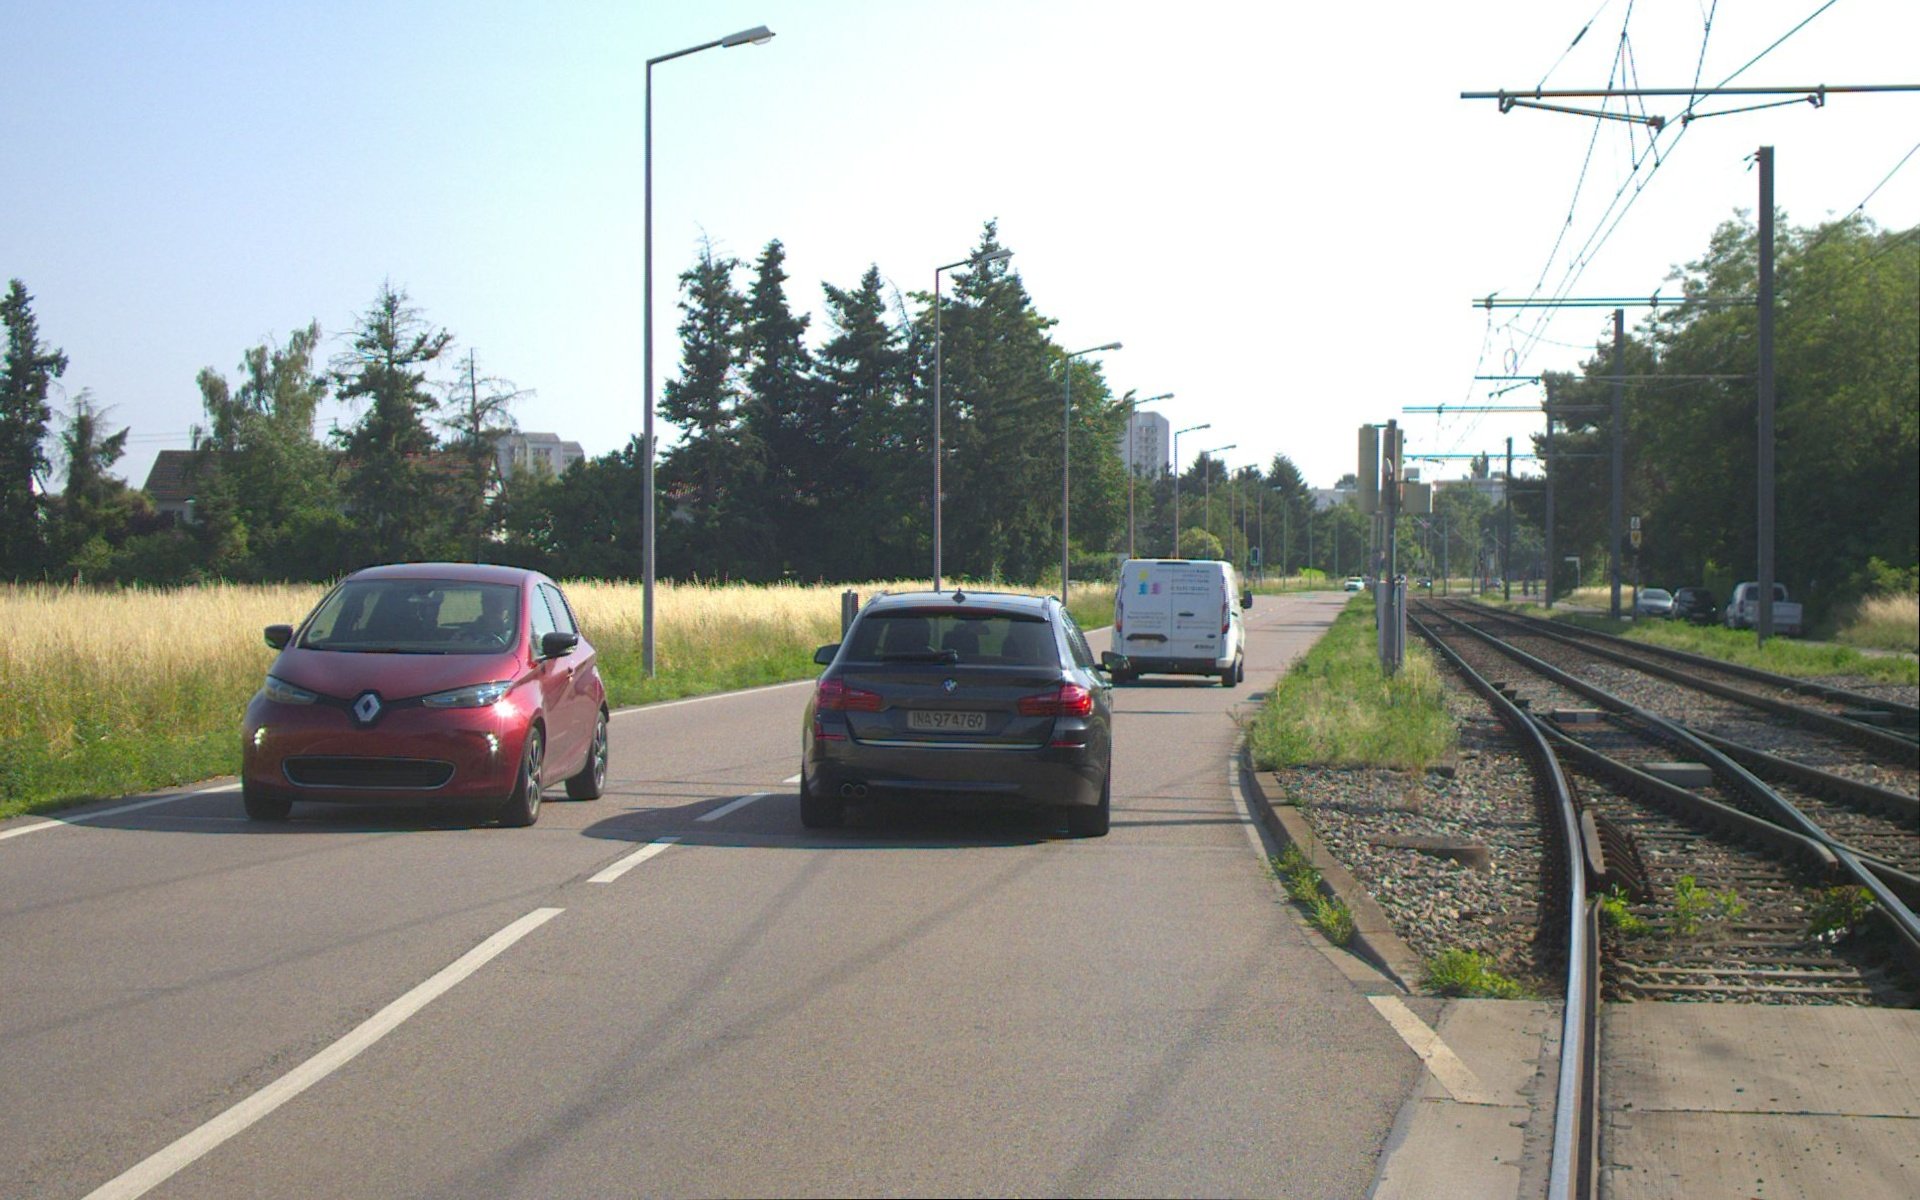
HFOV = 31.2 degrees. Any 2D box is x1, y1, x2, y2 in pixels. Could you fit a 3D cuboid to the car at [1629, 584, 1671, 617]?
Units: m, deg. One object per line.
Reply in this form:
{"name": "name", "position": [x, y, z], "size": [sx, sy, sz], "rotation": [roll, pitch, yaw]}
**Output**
{"name": "car", "position": [32.275, 0.052, 160.918], "size": [1.622, 1.394, 3.489], "rotation": [3, -1, 7]}

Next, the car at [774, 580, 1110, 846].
{"name": "car", "position": [-0.023, 0.639, 22.006], "size": [1.869, 1.447, 4.743], "rotation": [2, 0, 2]}

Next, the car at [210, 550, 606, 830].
{"name": "car", "position": [-3.361, 0.494, 21.614], "size": [1.712, 1.544, 3.928], "rotation": [2, 1, 2]}

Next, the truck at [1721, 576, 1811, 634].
{"name": "truck", "position": [26.956, 0.159, 115.109], "size": [2.205, 1.813, 5.928], "rotation": [2, 0, 6]}

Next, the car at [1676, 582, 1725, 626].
{"name": "car", "position": [30.751, 0.193, 142.862], "size": [1.735, 1.674, 3.542], "rotation": [3, -1, 9]}

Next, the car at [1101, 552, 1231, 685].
{"name": "car", "position": [3.376, 0.264, 55.587], "size": [1.858, 1.981, 5.107], "rotation": [2, 1, 5]}
